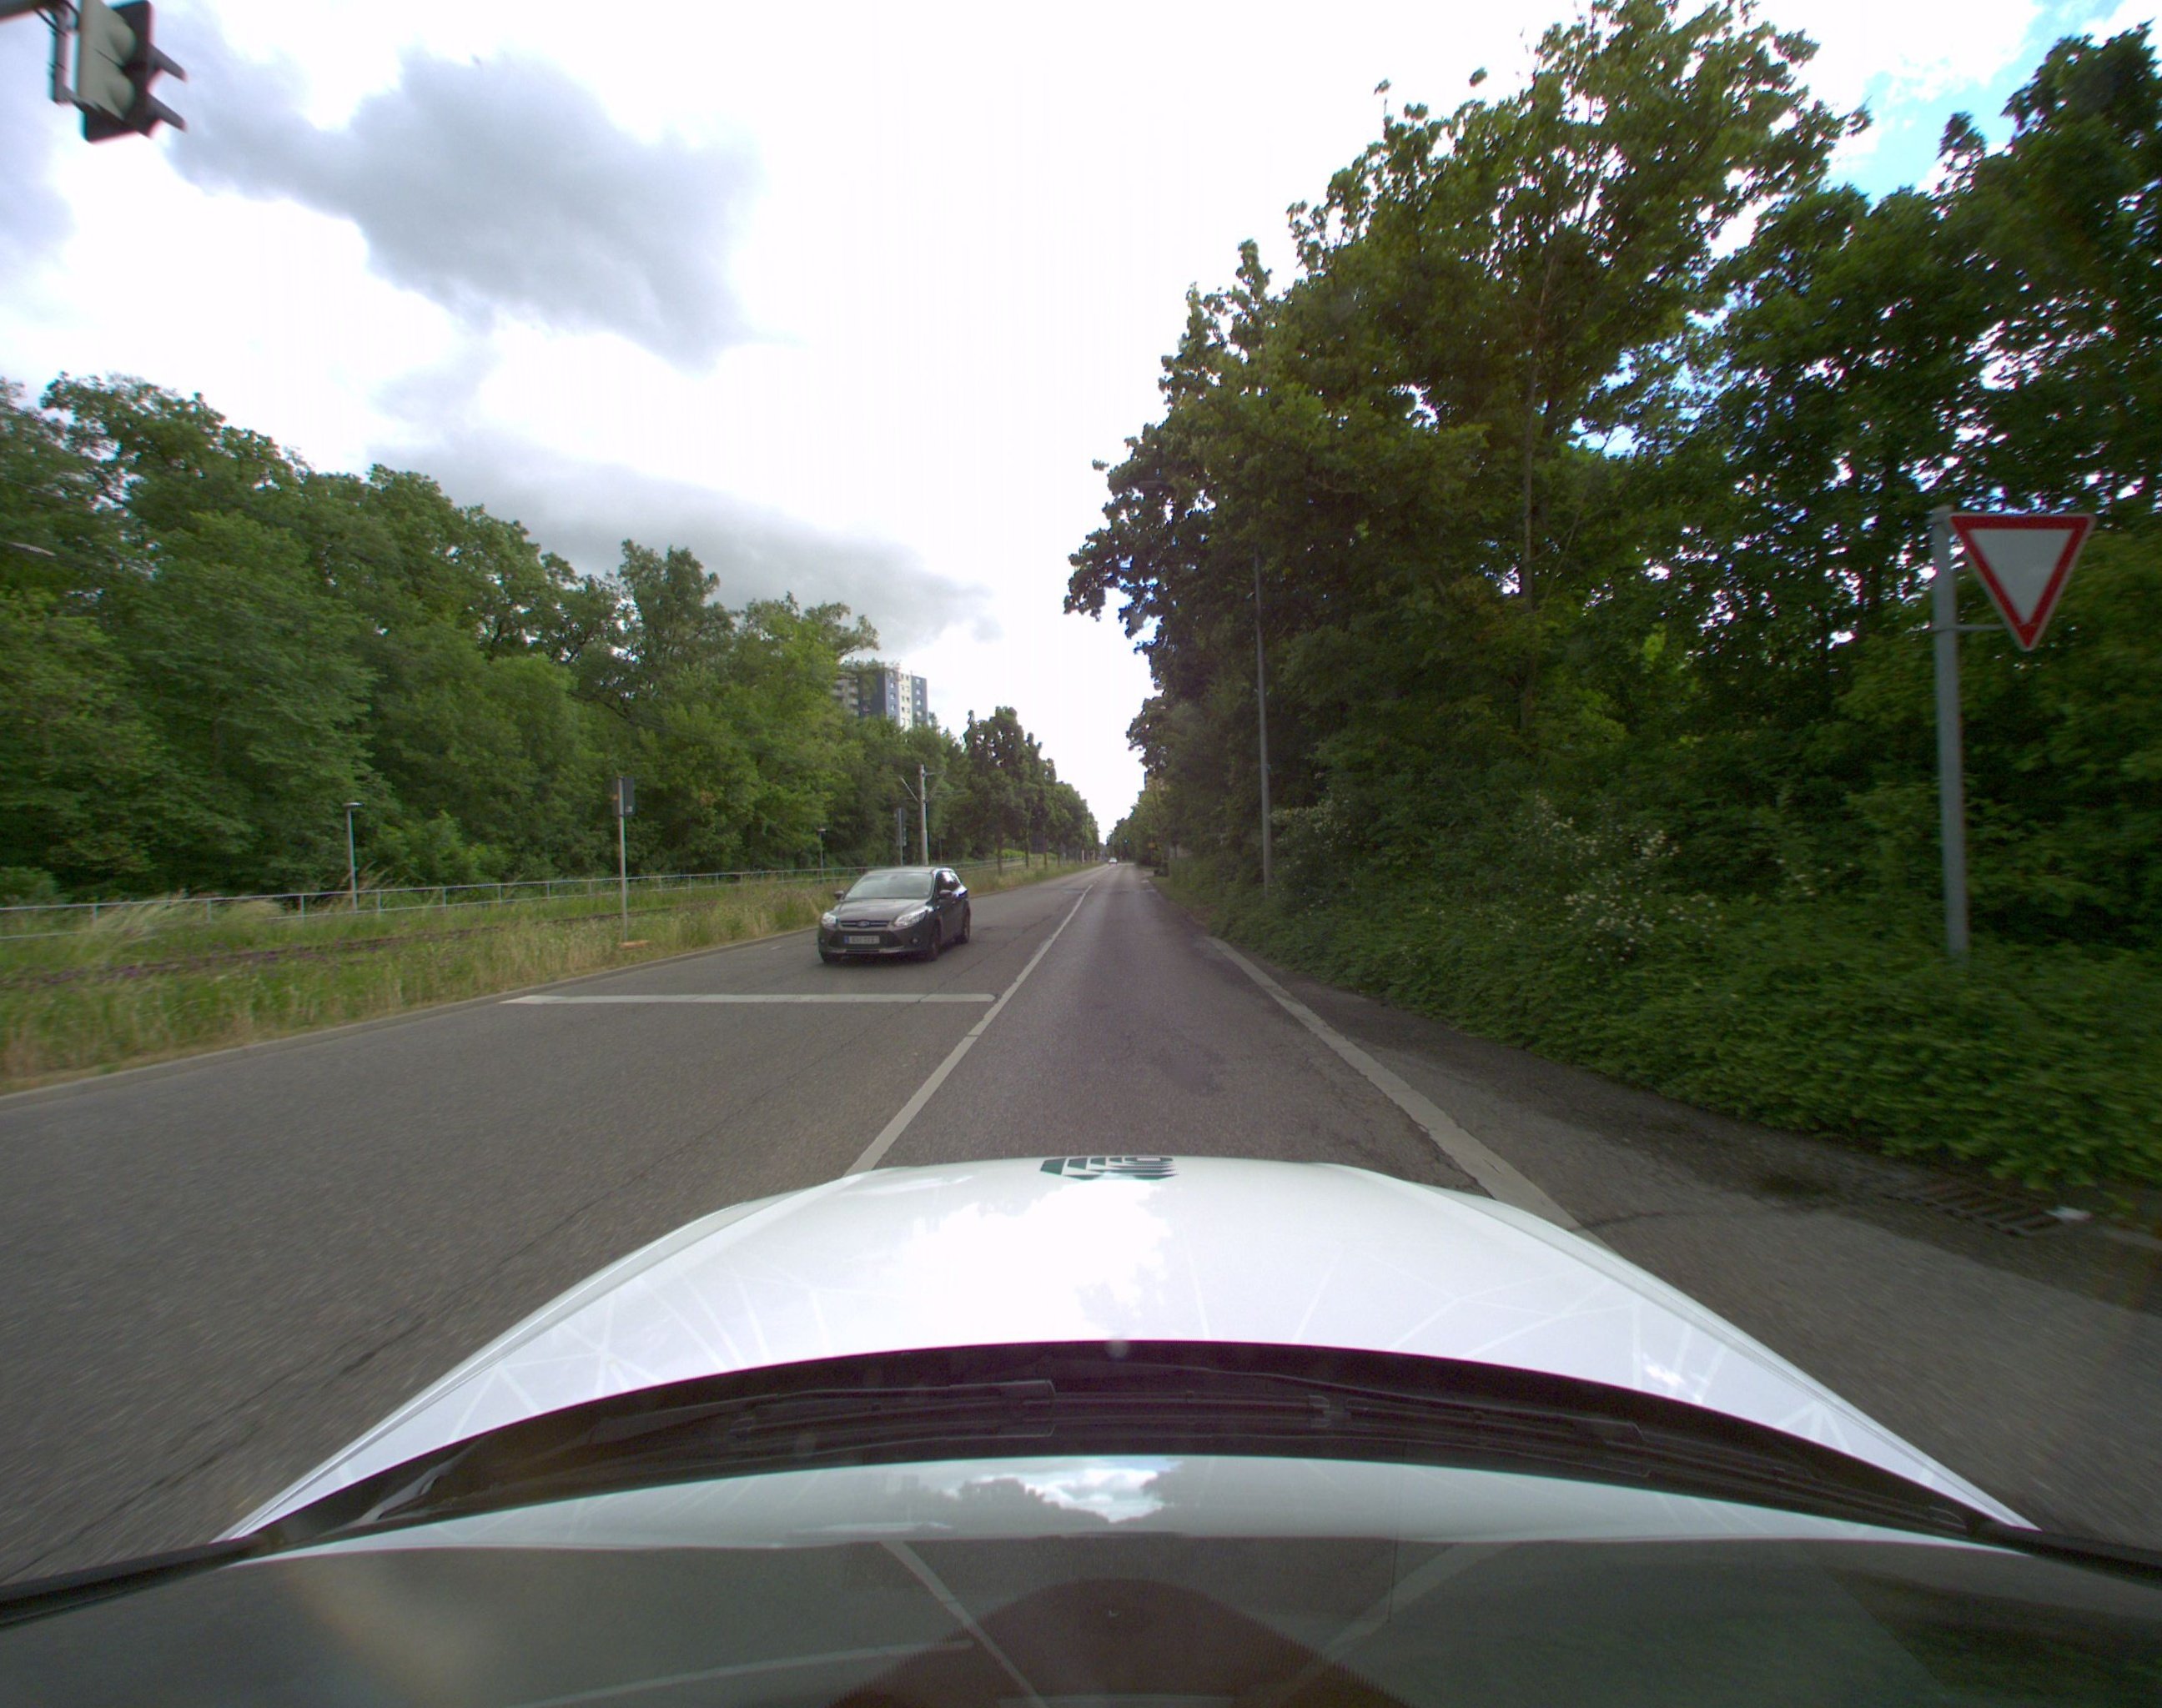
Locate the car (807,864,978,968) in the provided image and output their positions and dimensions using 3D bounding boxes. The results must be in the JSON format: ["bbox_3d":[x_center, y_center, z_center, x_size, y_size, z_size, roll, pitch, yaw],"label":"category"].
[{"bbox_3d":[-3.018,0.924,14.042,1.749,1.434,4.430,-2,0,2],"label":"car"}]

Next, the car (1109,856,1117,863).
[{"bbox_3d":[7.355,1.249,187.522,1.709,1.629,4.003,-5,0,3],"label":"car"}]
